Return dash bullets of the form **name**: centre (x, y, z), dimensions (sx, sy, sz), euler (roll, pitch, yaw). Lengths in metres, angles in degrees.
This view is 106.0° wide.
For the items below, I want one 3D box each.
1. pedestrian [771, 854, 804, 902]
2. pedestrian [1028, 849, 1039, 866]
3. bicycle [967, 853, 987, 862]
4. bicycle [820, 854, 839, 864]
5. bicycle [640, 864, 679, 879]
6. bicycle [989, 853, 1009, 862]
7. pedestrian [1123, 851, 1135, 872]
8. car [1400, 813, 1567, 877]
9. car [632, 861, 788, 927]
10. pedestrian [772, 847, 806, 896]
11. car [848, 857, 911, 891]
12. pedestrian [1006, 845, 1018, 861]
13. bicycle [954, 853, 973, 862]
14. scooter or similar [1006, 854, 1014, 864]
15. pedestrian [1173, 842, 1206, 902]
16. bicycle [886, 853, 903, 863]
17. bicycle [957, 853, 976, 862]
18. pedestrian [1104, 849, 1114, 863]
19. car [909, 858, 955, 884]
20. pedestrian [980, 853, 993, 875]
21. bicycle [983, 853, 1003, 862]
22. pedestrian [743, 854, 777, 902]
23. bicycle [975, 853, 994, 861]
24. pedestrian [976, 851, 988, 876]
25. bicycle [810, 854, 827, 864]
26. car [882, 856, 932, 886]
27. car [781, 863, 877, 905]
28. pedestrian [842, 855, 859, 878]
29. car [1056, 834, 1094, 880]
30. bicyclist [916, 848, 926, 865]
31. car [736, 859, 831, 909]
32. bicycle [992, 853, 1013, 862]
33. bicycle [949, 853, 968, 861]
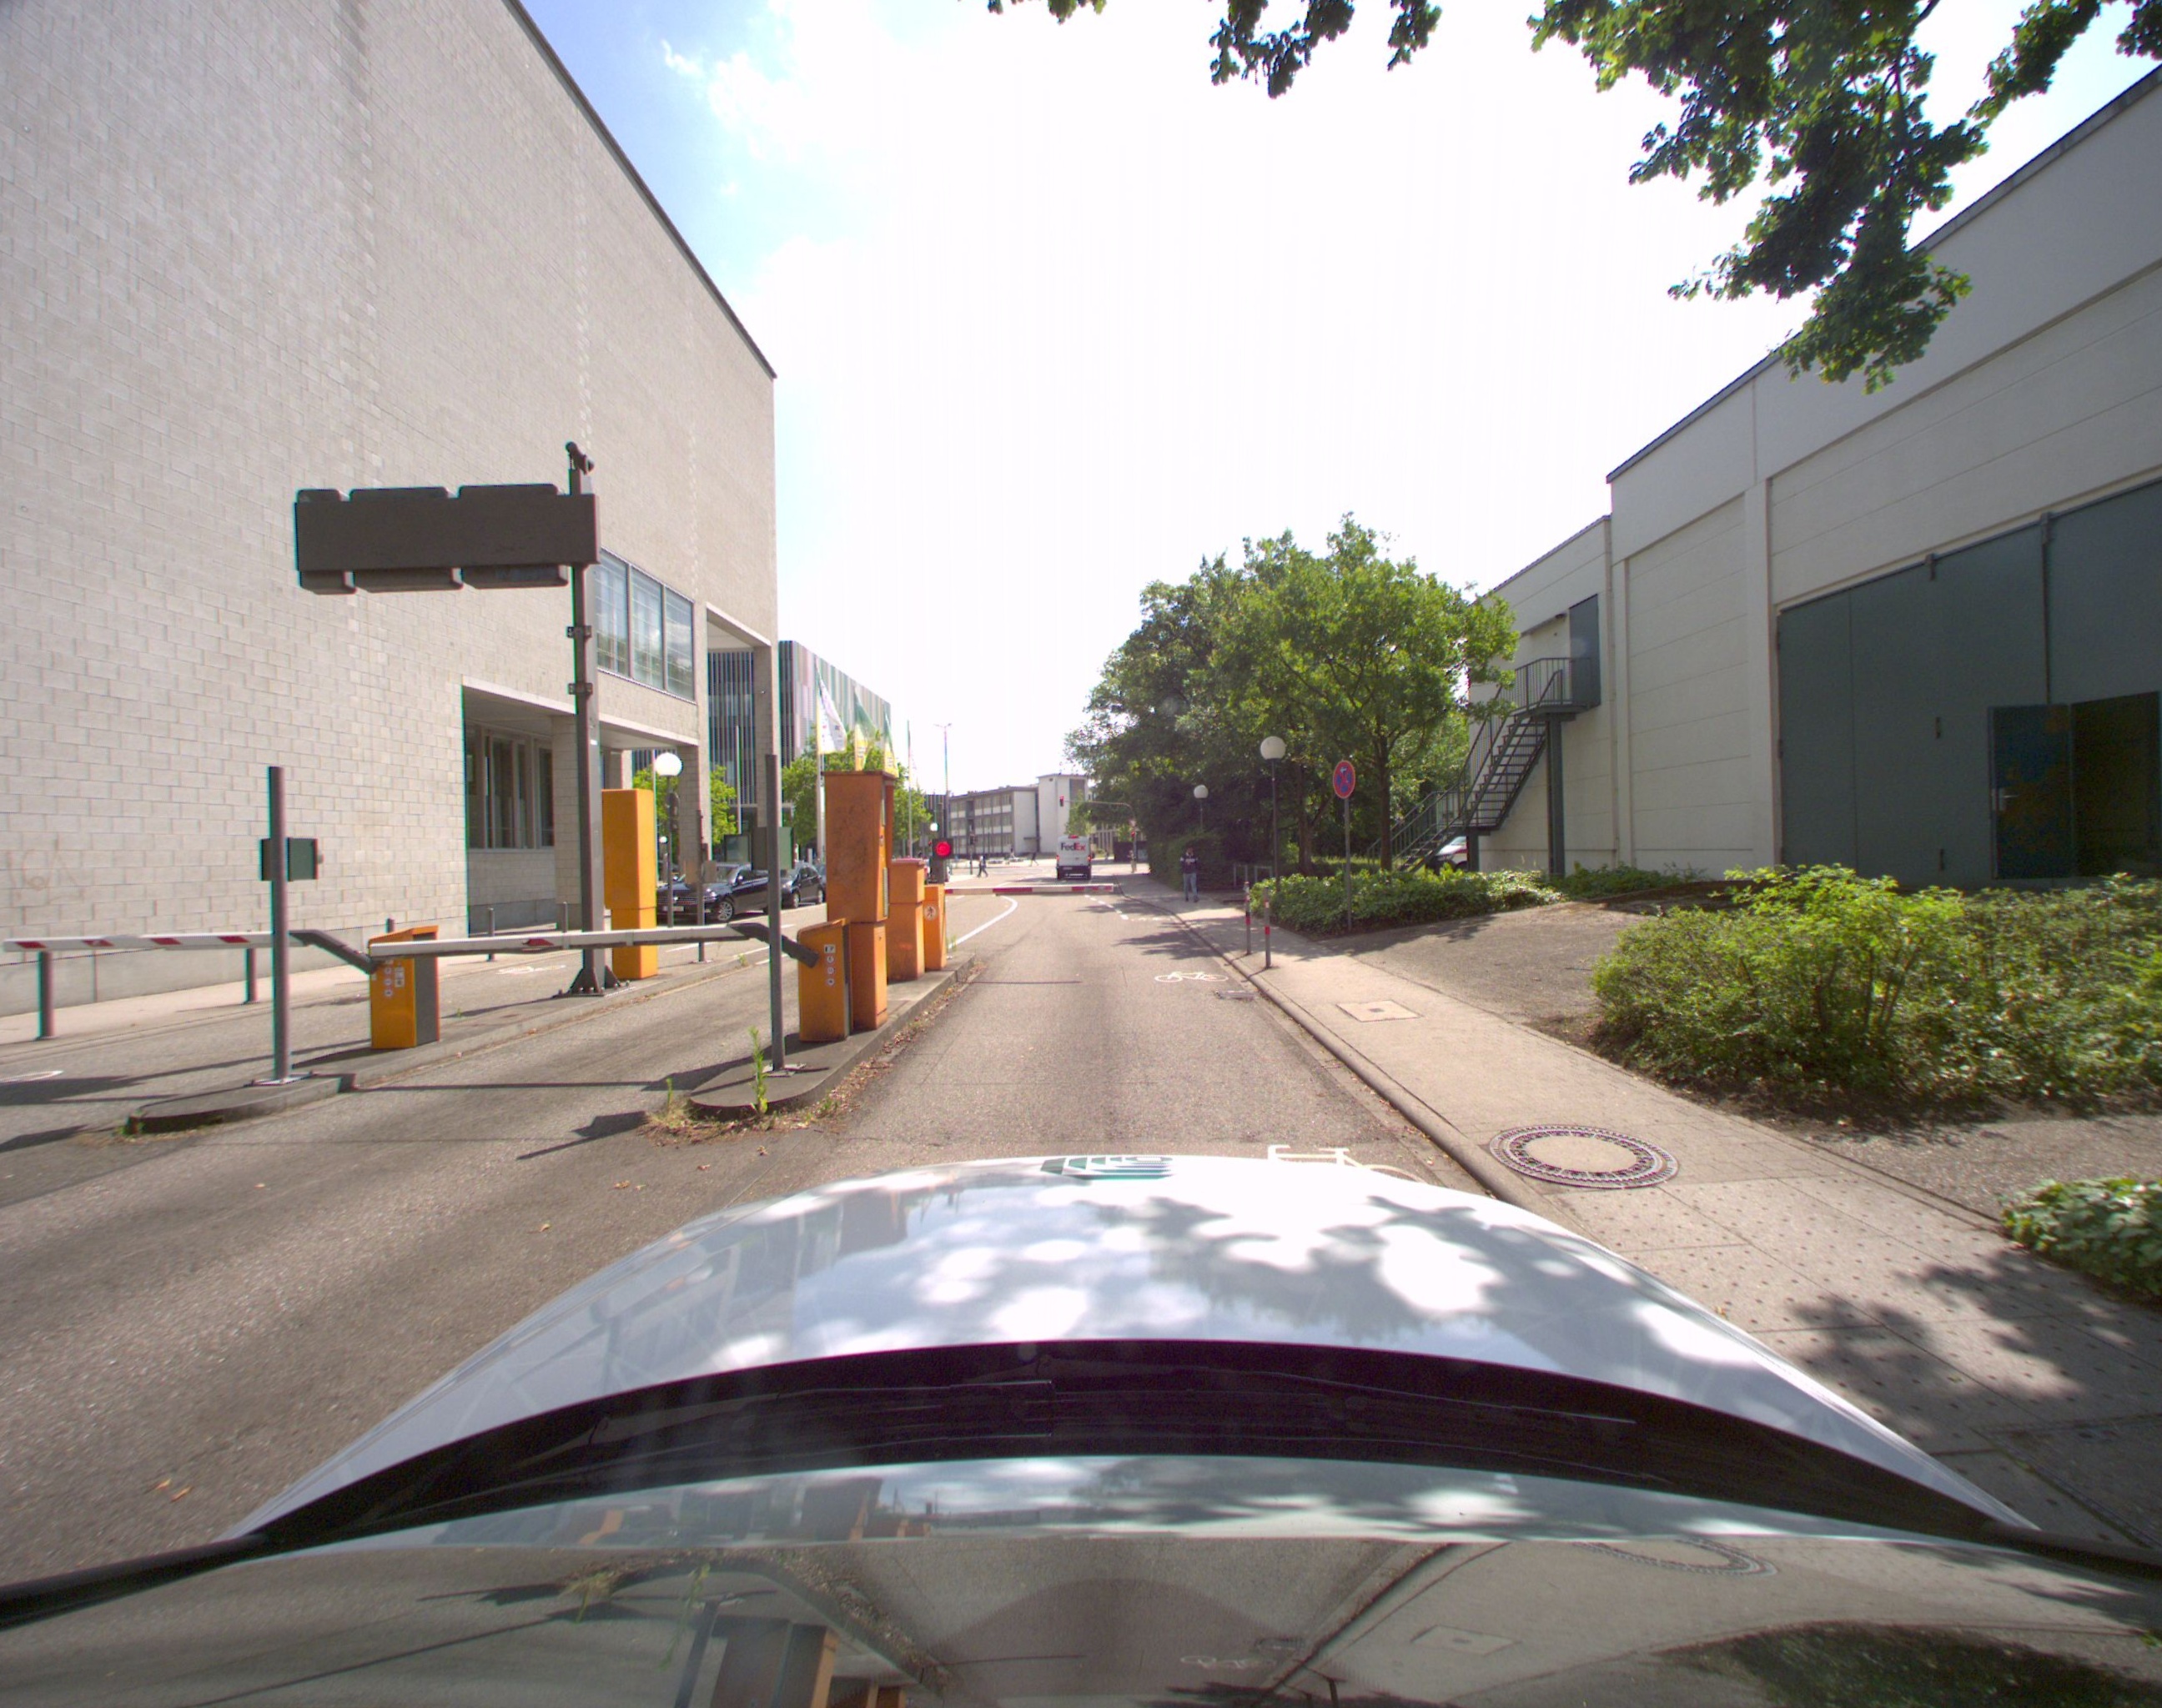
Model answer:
- **pedestrian**: centre (-12.711, 1.028, 35.338), dimensions (0.982, 2.013, 1.164), euler (-1, 0, -3)
- **pedestrian**: centre (-5.360, 0.407, 92.157), dimensions (1.077, 1.870, 0.832), euler (-2, 0, 0)
- **bicycle**: centre (-17.059, 0.528, 133.615), dimensions (2.979, 1.363, 1.105), euler (-1, 0, -36)
- **bicycle**: centre (-31.270, 0.641, 101.203), dimensions (1.384, 1.237, 2.919), euler (-1, 0, -35)
- **bicycle**: centre (-32.466, 1.328, 62.731), dimensions (2.601, 1.113, 0.665), euler (-1, 0, -1)
- **bicycle**: centre (-12.949, 0.474, 127.990), dimensions (2.979, 1.363, 1.105), euler (-1, 0, -36)
- **pedestrian**: centre (3.541, 0.552, 60.118), dimensions (0.729, 1.575, 0.774), euler (0, 0, -4)
- **car**: centre (14.070, -0.295, 28.698), dimensions (4.806, 2.013, 2.063), euler (-2, 0, 2)
- **car**: centre (-9.547, 0.947, 21.452), dimensions (1.852, 1.467, 4.720), euler (0, 0, 1)
- **pedestrian**: centre (-12.232, 0.709, 34.102), dimensions (0.982, 2.013, 1.164), euler (-1, 0, -3)
- **car**: centre (-9.574, 0.917, 38.937), dimensions (1.740, 1.467, 4.200), euler (1, 0, 3)
- **pedestrian**: centre (-8.892, -0.104, 105.207), dimensions (1.132, 2.013, 1.161), euler (-1, 0, 15)
- **bicycle**: centre (-19.984, 0.575, 138.071), dimensions (2.979, 1.363, 1.105), euler (-1, 0, -36)
- **scooter or similar**: centre (-8.216, 0.565, 94.449), dimensions (0.716, 1.178, 2.716), euler (-1, 0, -9)
- **pedestrian**: centre (3.170, 0.511, 23.865), dimensions (0.737, 1.674, 1.255), euler (-1, 0, -2)
- **bicycle**: centre (-24.334, 0.520, 106.135), dimensions (1.206, 1.237, 2.919), euler (-1, 0, -35)
- **bicycle**: centre (-19.129, 0.563, 136.572), dimensions (2.979, 1.363, 1.105), euler (-1, 0, -36)
- **pedestrian**: centre (3.168, 0.213, 92.037), dimensions (0.827, 1.523, 0.810), euler (-1, 0, -18)
- **car**: centre (-8.856, 0.997, 48.781), dimensions (1.670, 1.395, 4.665), euler (1, 0, 2)
- **pedestrian**: centre (-7.215, 0.758, 62.396), dimensions (0.839, 1.651, 0.747), euler (-1, 0, 3)
- **bicycle**: centre (-13.957, 0.489, 129.272), dimensions (2.979, 1.363, 1.262), euler (-1, 0, -36)
- **pedestrian**: centre (-13.784, 1.029, 35.046), dimensions (0.982, 2.013, 1.164), euler (-1, 0, -3)
- **bicycle**: centre (-15.563, 0.475, 131.478), dimensions (2.979, 1.363, 1.105), euler (-1, 0, -36)
- **pedestrian**: centre (-7.469, 0.727, 61.312), dimensions (0.716, 1.859, 0.770), euler (-1, 0, 3)
- **bicycle**: centre (-32.545, 0.594, 100.776), dimensions (1.206, 1.237, 2.919), euler (-1, 0, -35)
- **car**: centre (-9.286, 0.874, 43.802), dimensions (1.670, 1.467, 3.913), euler (1, 0, 2)
- **car**: centre (-9.505, 1.088, 31.159), dimensions (1.851, 1.378, 5.021), euler (1, 0, 3)
- **pedestrian**: centre (-19.544, 1.062, 69.125), dimensions (0.845, 1.876, 1.012), euler (-2, 0, 24)
- **car**: centre (-0.315, 0.148, 49.145), dimensions (2.088, 2.566, 5.603), euler (-2, 0, 1)
- **bicyclist**: centre (-18.229, 0.278, 92.946), dimensions (0.784, 1.817, 1.002), euler (-2, 0, 10)
- **car**: centre (-9.581, 0.926, 26.529), dimensions (1.633, 1.467, 3.708), euler (0, 0, 1)
- **bicycle**: centre (-12.239, 0.570, 126.878), dimensions (2.979, 1.363, 1.105), euler (-1, 0, -36)
- **bicycle**: centre (-21.065, 0.576, 139.932), dimensions (2.979, 1.363, 1.105), euler (-1, 0, -36)
